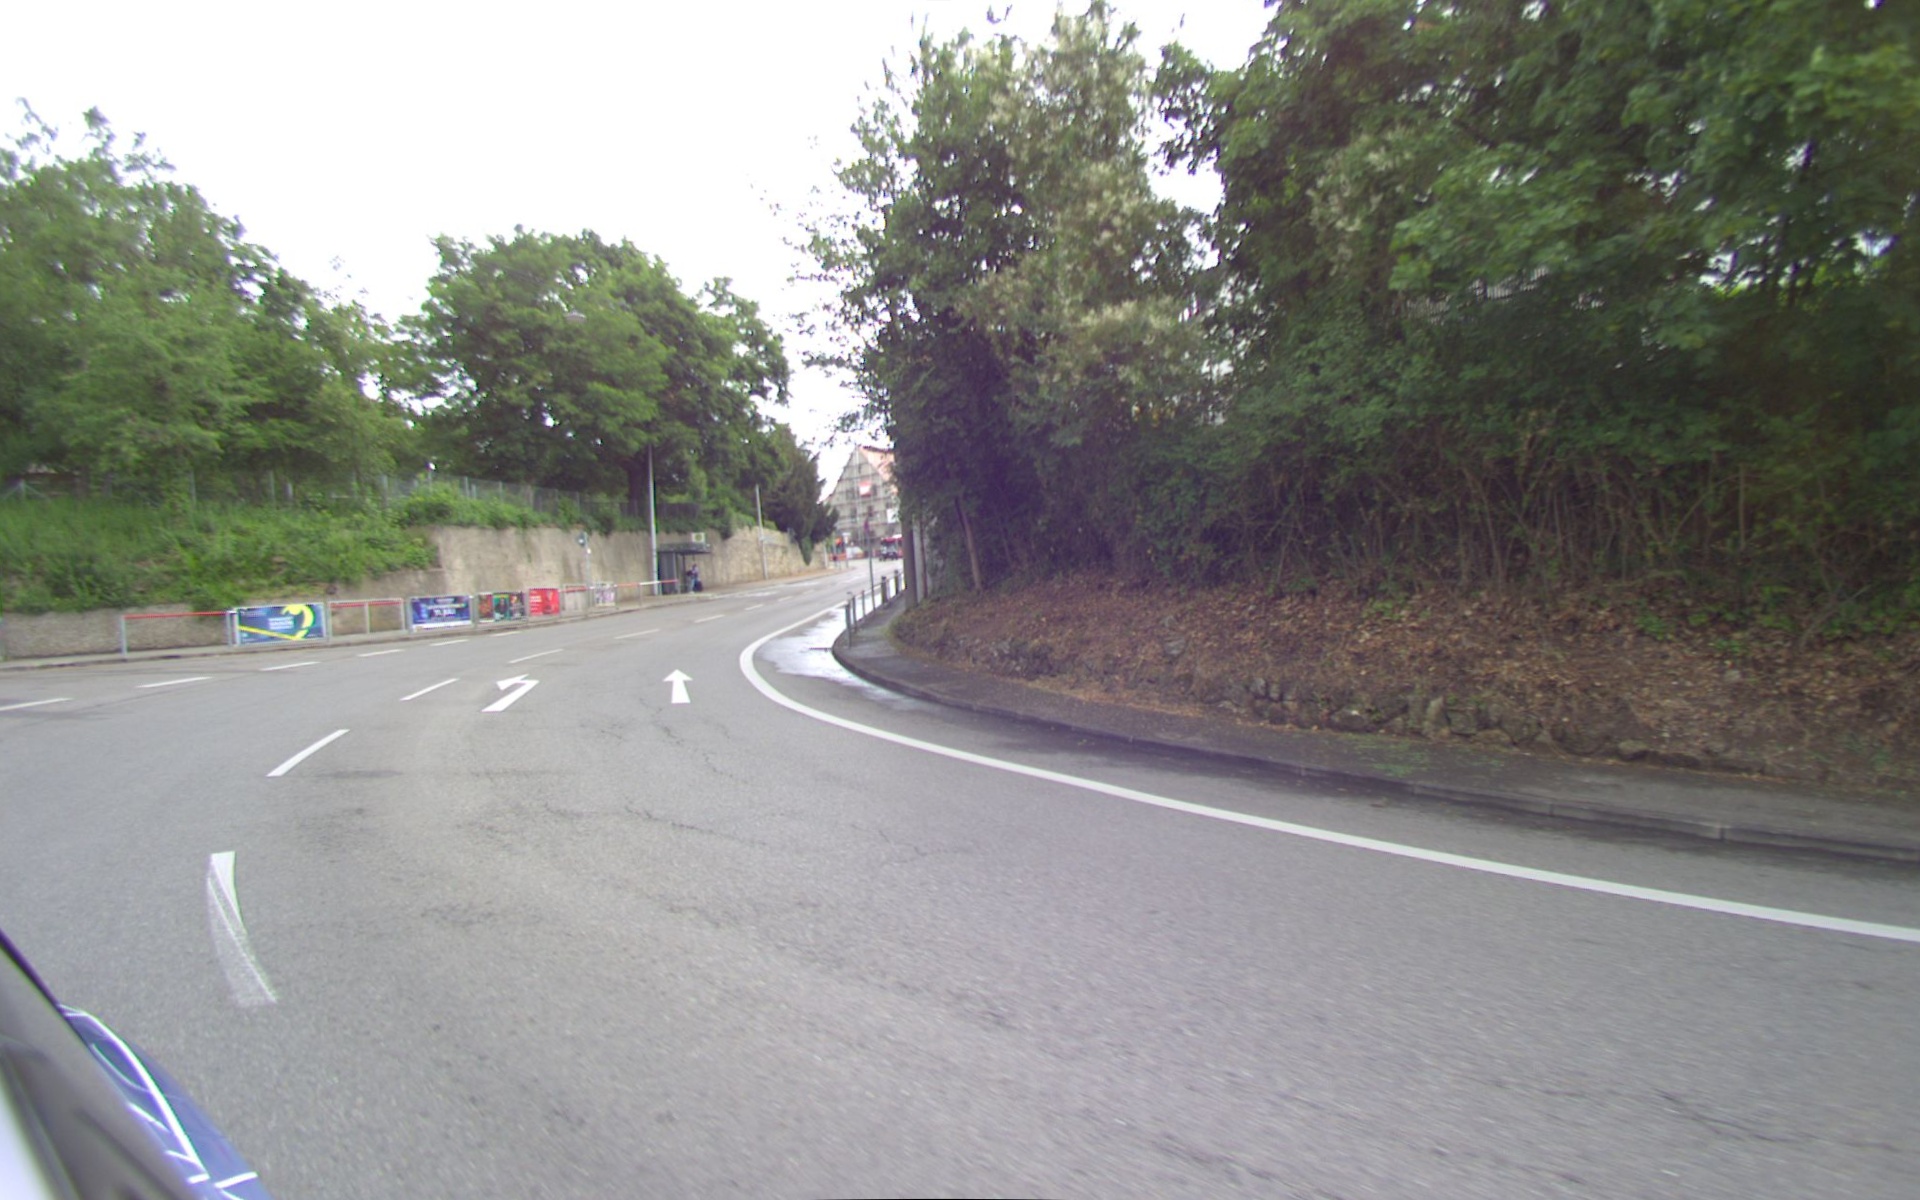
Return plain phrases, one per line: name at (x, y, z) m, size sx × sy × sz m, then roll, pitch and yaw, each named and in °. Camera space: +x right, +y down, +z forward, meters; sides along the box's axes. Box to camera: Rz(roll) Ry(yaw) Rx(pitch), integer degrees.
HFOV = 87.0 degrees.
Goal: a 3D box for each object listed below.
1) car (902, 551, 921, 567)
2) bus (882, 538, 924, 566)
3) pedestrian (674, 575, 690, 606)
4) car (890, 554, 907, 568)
car at (-5.481, -4.642, 114.865) m, size 1.831 × 1.728 × 3.880 m, roll -1°, pitch 3°, yaw 1°
bus at (-7.734, -6.433, 136.135) m, size 2.862 × 3.664 × 9.516 m, roll -2°, pitch 3°, yaw -21°
pedestrian at (-15.453, -0.529, 56.176) m, size 0.707 × 1.652 × 0.742 m, roll -2°, pitch 3°, yaw -7°
car at (-7.871, -5.059, 129.952) m, size 1.831 × 1.728 × 3.880 m, roll -1°, pitch 3°, yaw 1°
